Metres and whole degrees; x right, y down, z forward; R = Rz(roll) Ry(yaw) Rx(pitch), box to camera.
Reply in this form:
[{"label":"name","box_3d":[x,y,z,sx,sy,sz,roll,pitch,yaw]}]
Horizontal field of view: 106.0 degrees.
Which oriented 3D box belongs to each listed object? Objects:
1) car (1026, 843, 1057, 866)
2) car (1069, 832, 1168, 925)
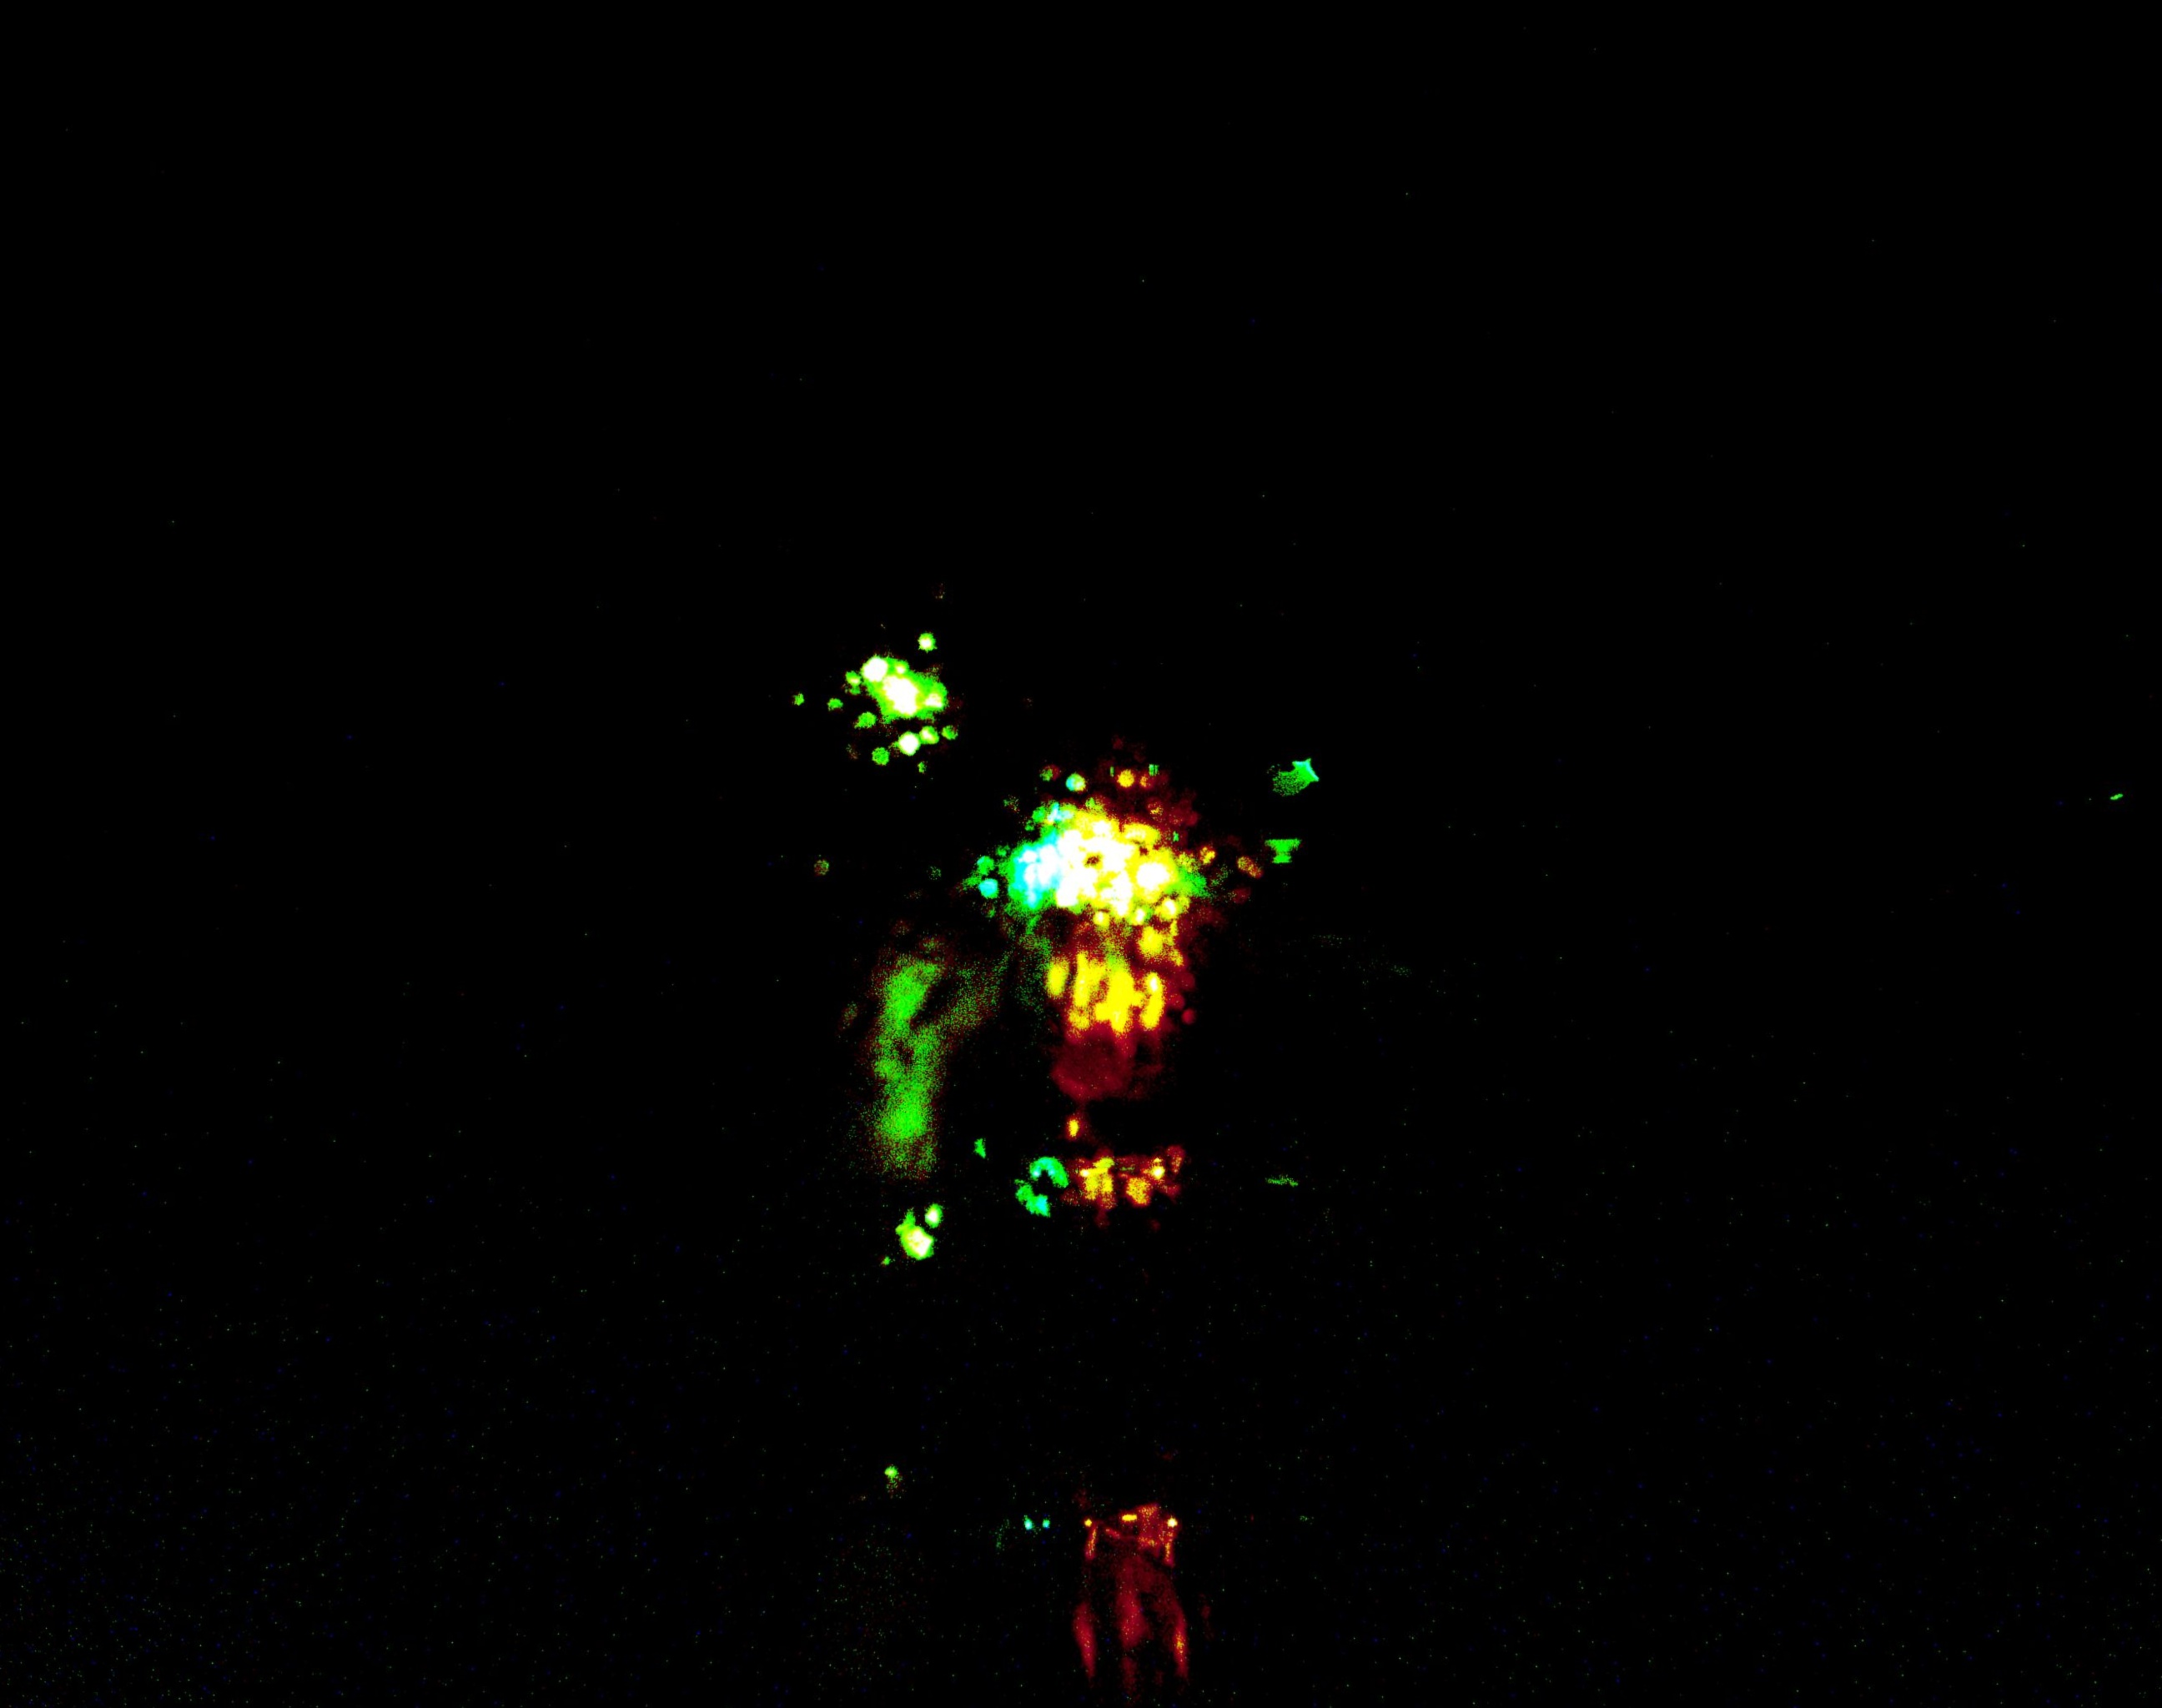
[{"label":"car","box_3d":[-3.073,0.027,64.486,1.866,1.545,4.359,-5,0,3]},{"label":"car","box_3d":[0.838,0.444,17.248,1.783,1.681,3.908,-3,0,4]}]
